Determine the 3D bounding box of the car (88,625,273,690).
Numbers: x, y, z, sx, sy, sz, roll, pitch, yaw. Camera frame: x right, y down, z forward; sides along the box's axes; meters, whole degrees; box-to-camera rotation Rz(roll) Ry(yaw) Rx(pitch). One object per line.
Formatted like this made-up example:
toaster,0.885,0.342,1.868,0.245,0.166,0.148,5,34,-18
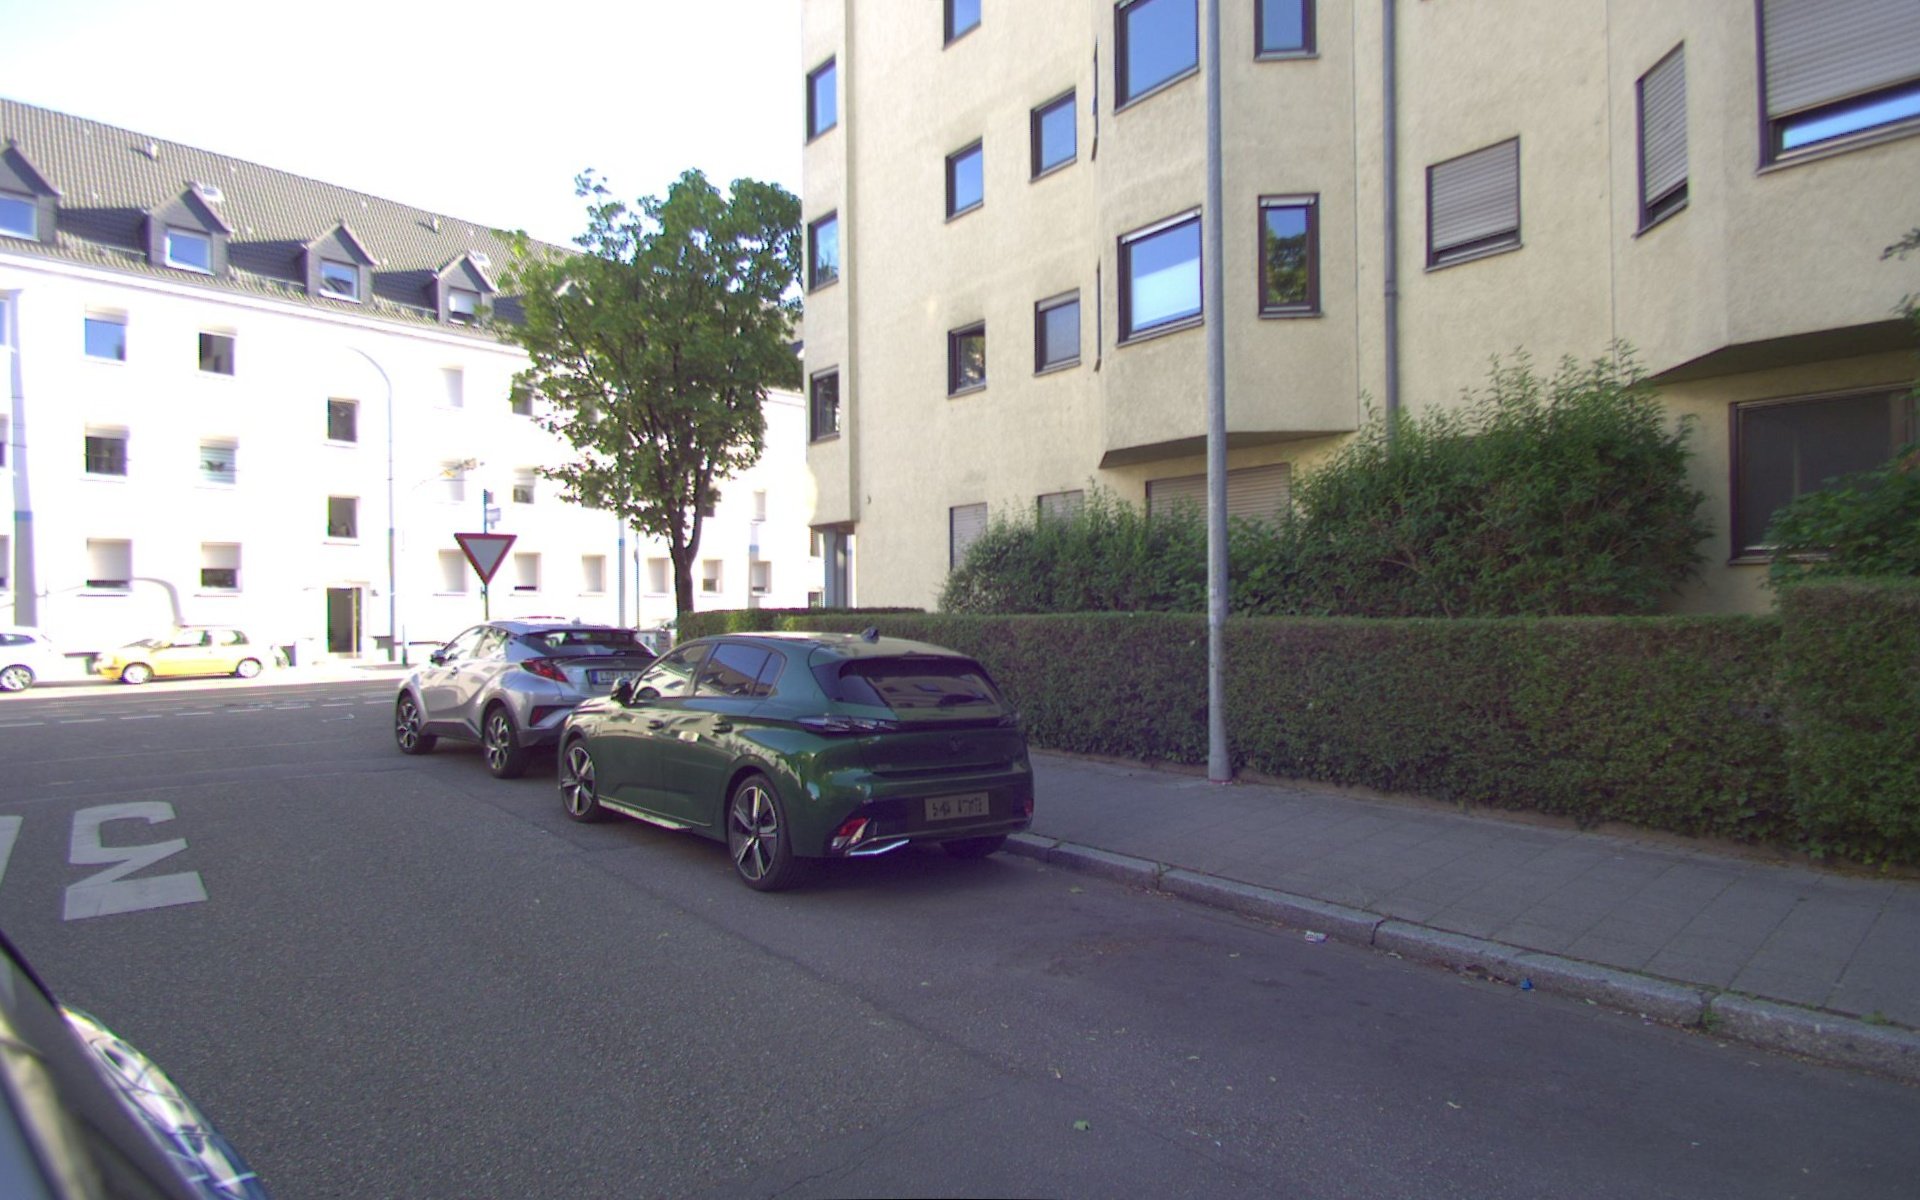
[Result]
car,-20.027,1.419,26.104,1.554,1.459,3.564,0,0,41

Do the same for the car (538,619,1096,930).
car,-1.248,0.921,6.958,1.744,1.464,4.213,4,-4,-41

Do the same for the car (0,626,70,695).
car,-23.021,1.405,22.720,1.945,1.518,4.430,-2,-1,43

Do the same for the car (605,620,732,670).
car,-10.463,1.622,36.508,1.922,1.698,4.020,-2,-3,40

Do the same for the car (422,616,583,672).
car,-14.550,1.350,32.343,1.998,1.569,4.228,-2,-1,40

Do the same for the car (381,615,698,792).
car,-4.713,0.990,11.049,4.075,1.567,1.699,-2,-3,44
